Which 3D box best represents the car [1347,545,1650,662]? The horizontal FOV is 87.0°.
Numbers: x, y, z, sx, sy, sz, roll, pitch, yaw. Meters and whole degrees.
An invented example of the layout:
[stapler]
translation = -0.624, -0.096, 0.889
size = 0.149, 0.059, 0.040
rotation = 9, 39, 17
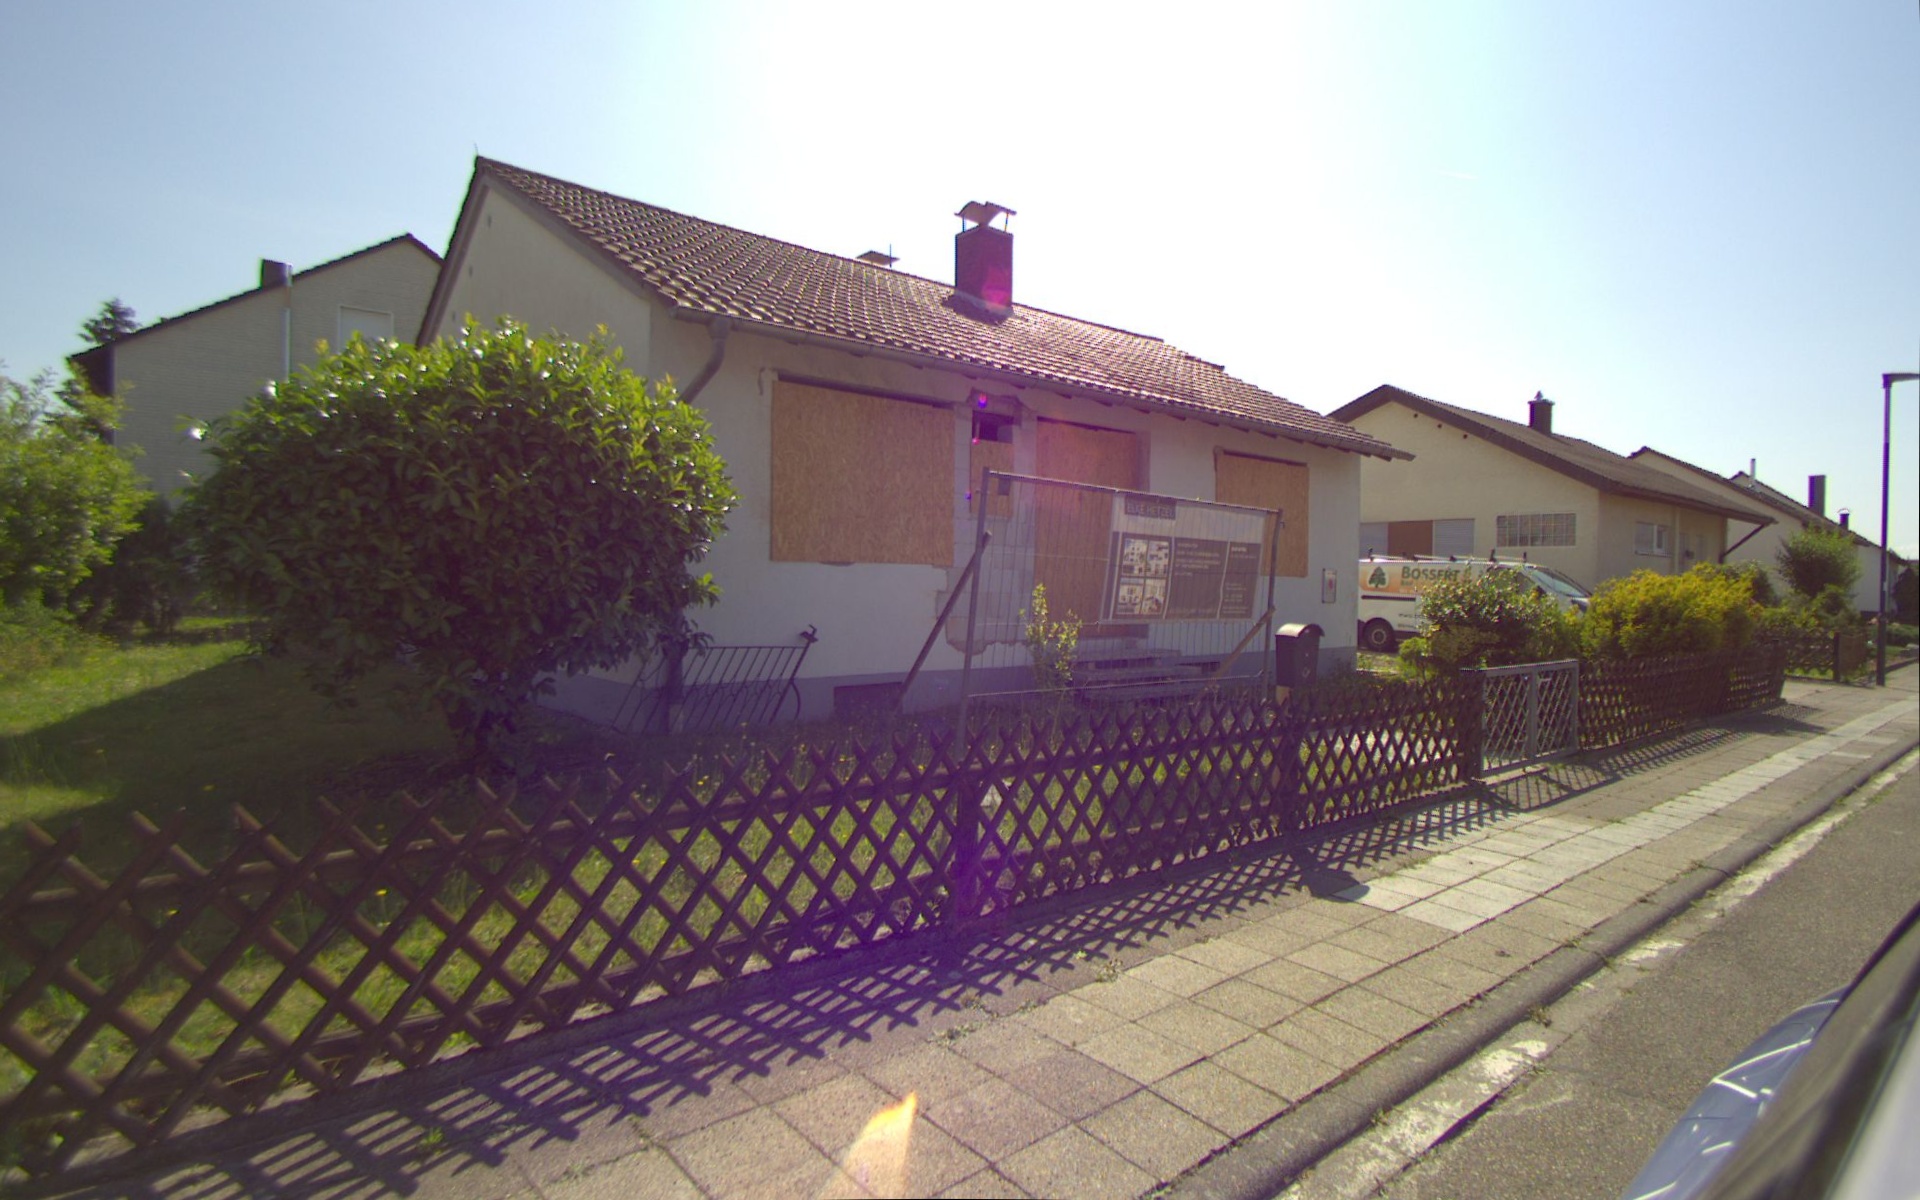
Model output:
[car]
translation = 10.523, -0.016, 20.178
size = 1.834, 2.039, 5.009
rotation = 0, 2, -38
